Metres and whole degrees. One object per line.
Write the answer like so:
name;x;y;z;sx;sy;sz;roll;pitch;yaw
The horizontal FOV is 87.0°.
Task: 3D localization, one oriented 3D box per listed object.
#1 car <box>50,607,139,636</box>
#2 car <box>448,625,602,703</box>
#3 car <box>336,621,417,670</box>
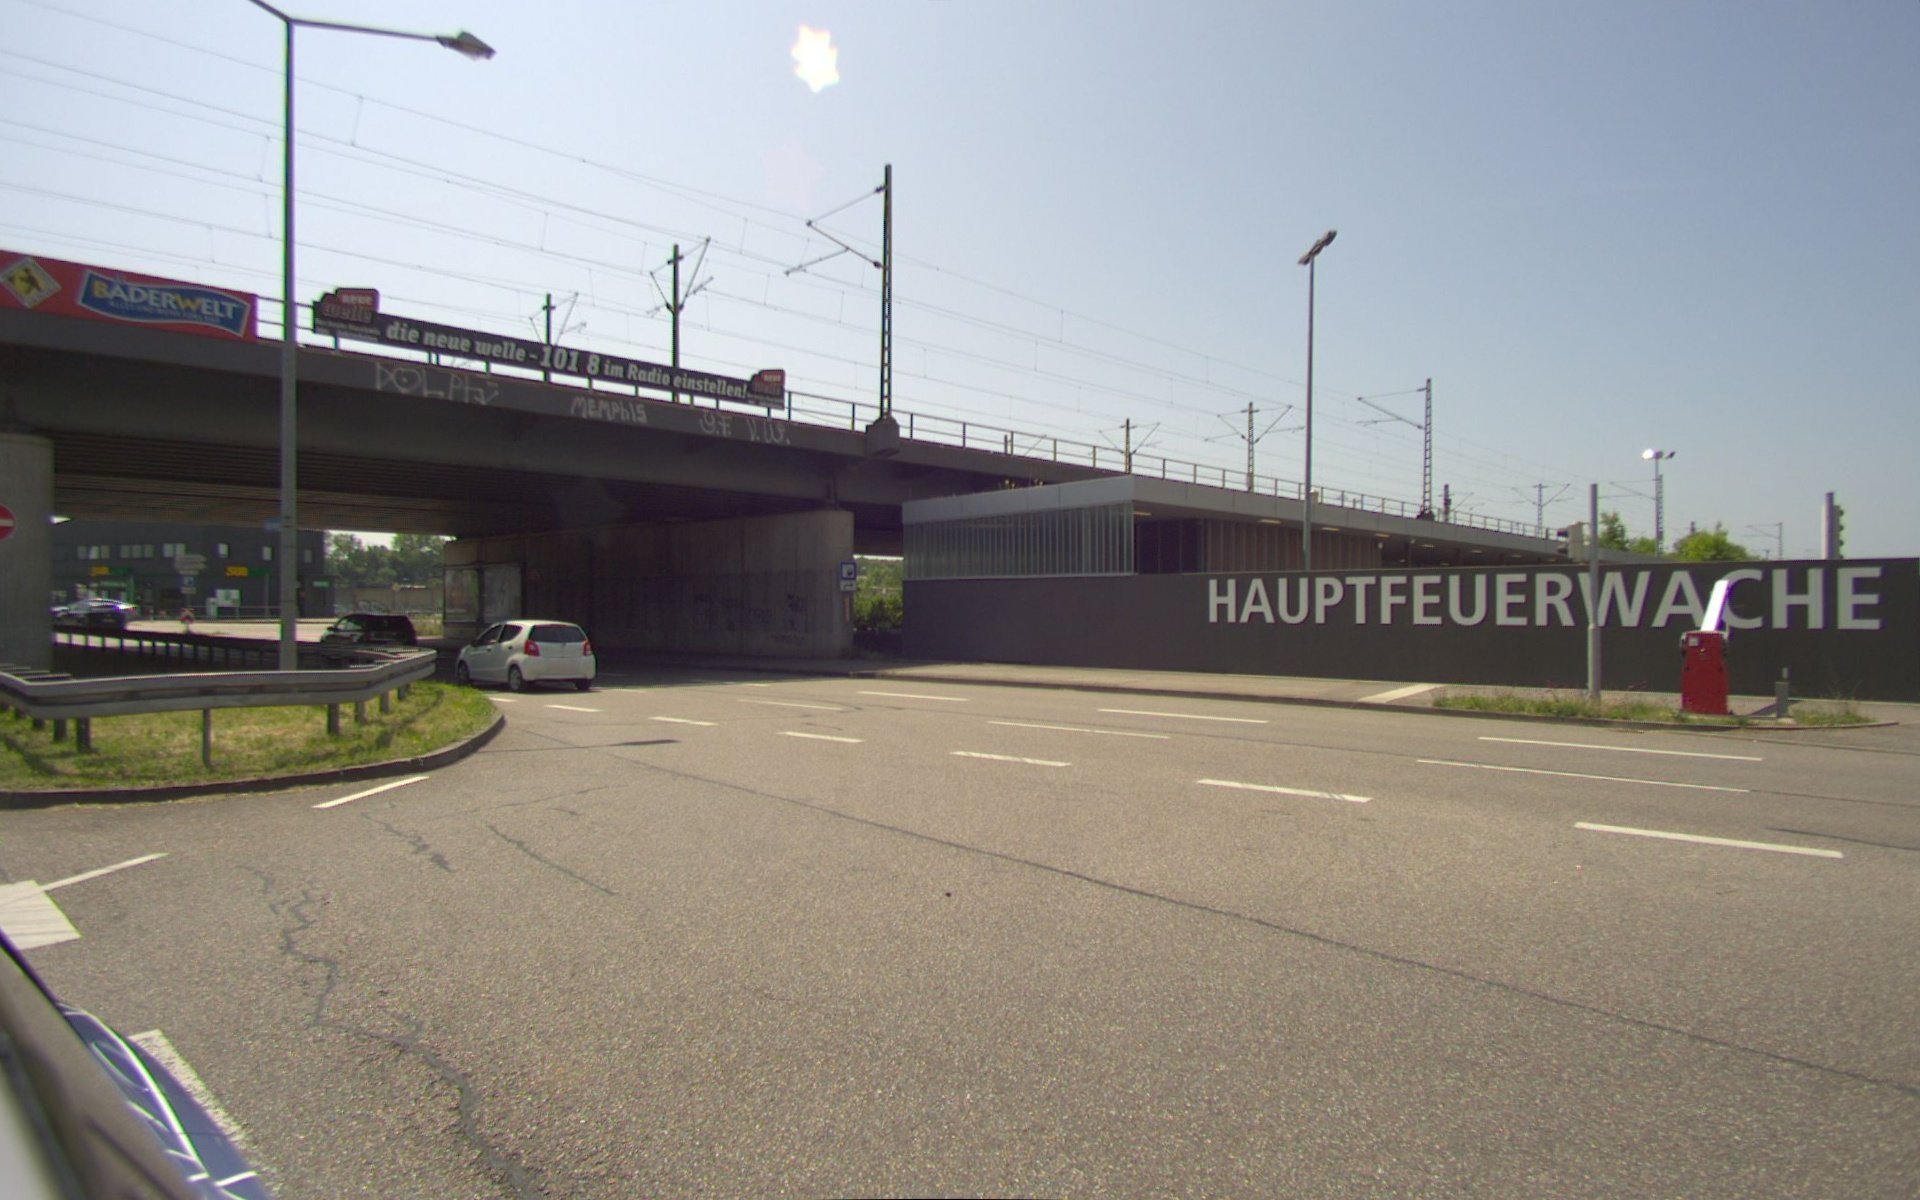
car;-53.106;1.313;62.207;3.932;1.697;2.006;0;-1;-33
car;-9.157;1.280;21.231;3.372;1.461;1.688;-1;-1;41
car;-19.608;1.500;33.980;1.685;1.556;3.378;2;-2;-42
